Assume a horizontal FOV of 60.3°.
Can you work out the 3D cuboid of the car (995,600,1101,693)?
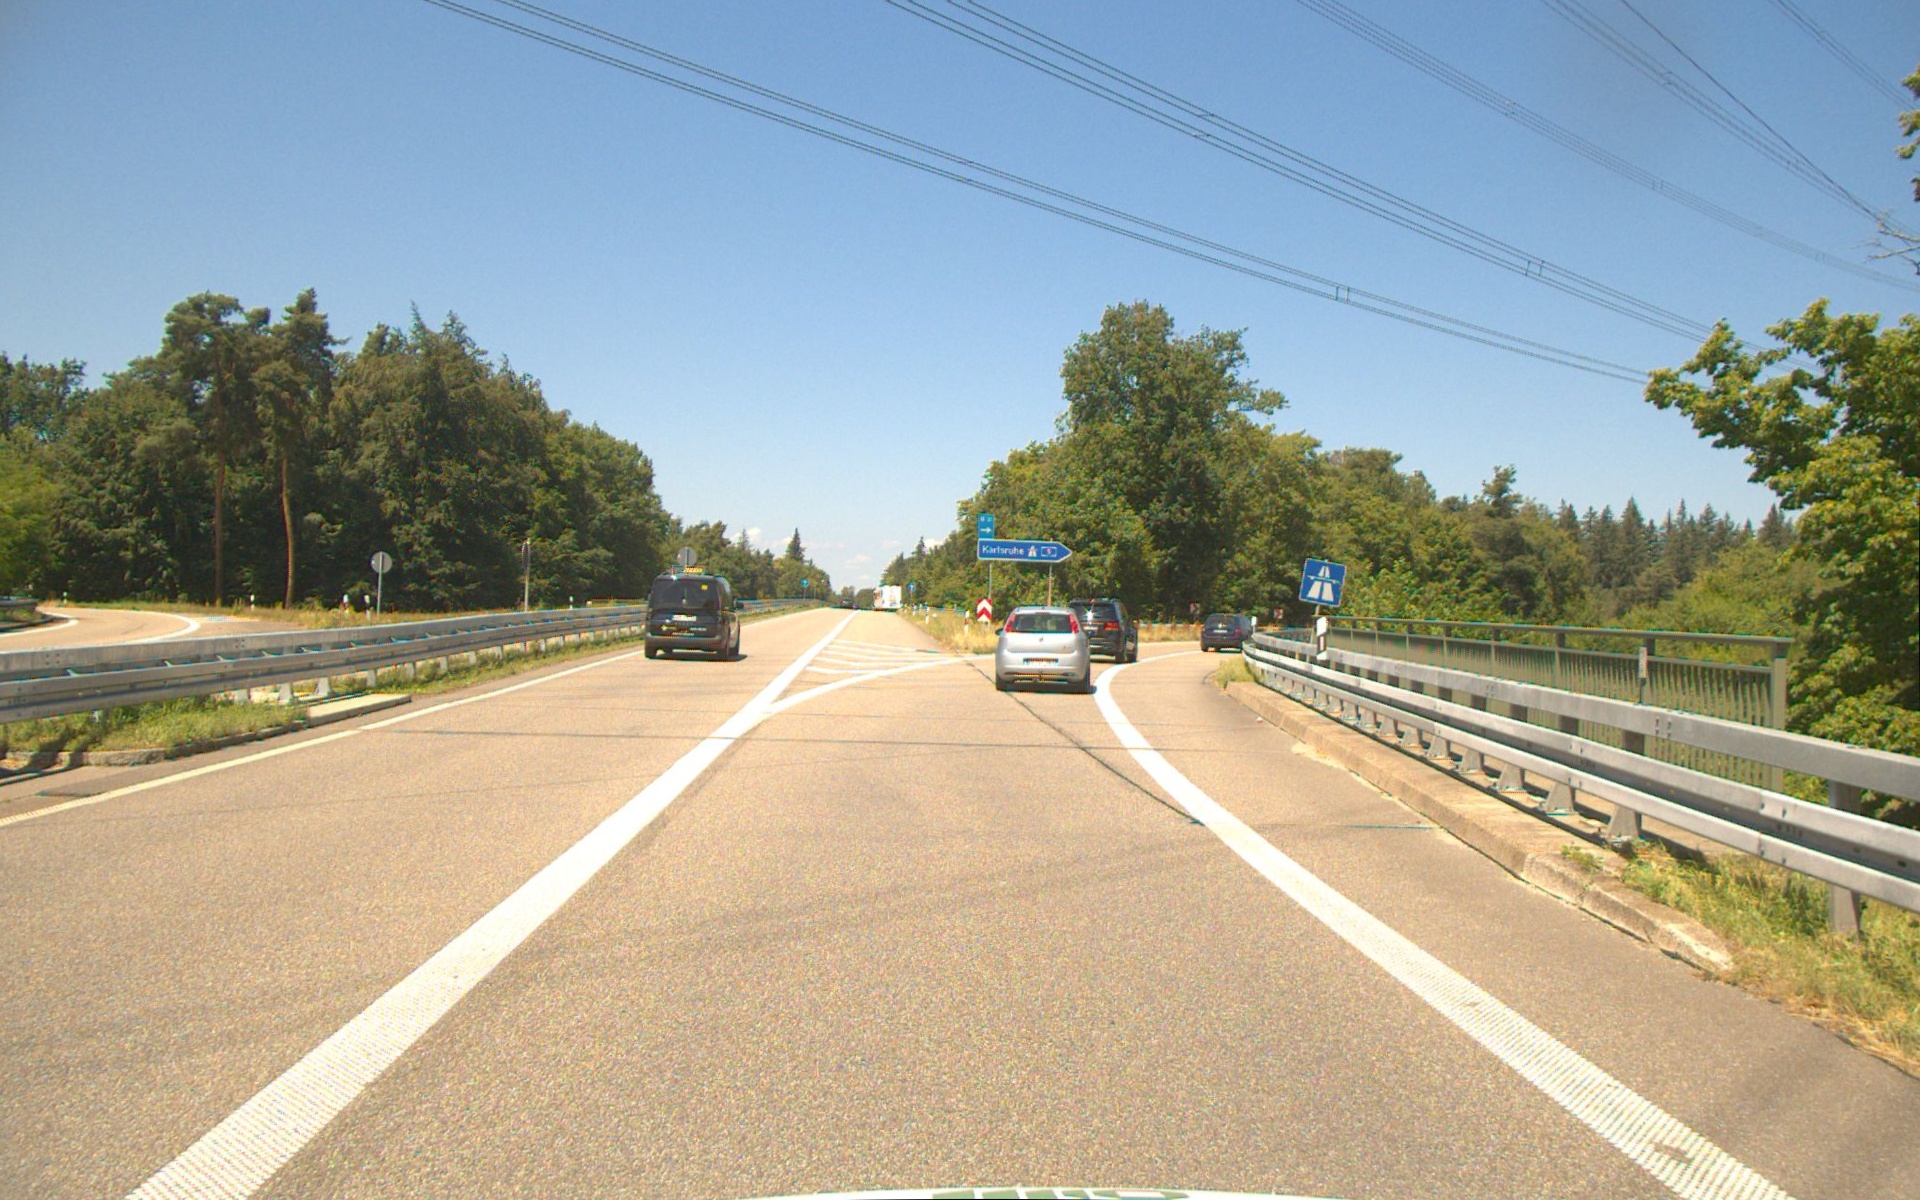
[{"bbox_3d":[1.641,0.805,29.951,1.605,1.493,3.421,3,0,7],"label":"car"}]

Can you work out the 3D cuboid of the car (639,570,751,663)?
[{"bbox_3d":[-5.891,0.333,37.331,1.817,1.920,5.571,0,0,-2],"label":"car"}]

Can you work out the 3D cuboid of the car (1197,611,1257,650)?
[{"bbox_3d":[10.260,1.151,63.411,1.606,1.366,3.575,3,0,19],"label":"car"}]

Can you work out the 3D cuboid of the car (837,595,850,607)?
[{"bbox_3d":[-16.309,0.162,231.865,1.678,1.497,3.572,3,0,-3],"label":"car"}]

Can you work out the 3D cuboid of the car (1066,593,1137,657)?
[{"bbox_3d":[4.079,0.702,47.299,1.605,1.682,3.577,3,0,10],"label":"car"}]

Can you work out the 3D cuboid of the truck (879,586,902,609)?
[{"bbox_3d":[-8.390,-0.266,198.741,2.566,2.688,7.662,1,0,-3],"label":"truck"}]
